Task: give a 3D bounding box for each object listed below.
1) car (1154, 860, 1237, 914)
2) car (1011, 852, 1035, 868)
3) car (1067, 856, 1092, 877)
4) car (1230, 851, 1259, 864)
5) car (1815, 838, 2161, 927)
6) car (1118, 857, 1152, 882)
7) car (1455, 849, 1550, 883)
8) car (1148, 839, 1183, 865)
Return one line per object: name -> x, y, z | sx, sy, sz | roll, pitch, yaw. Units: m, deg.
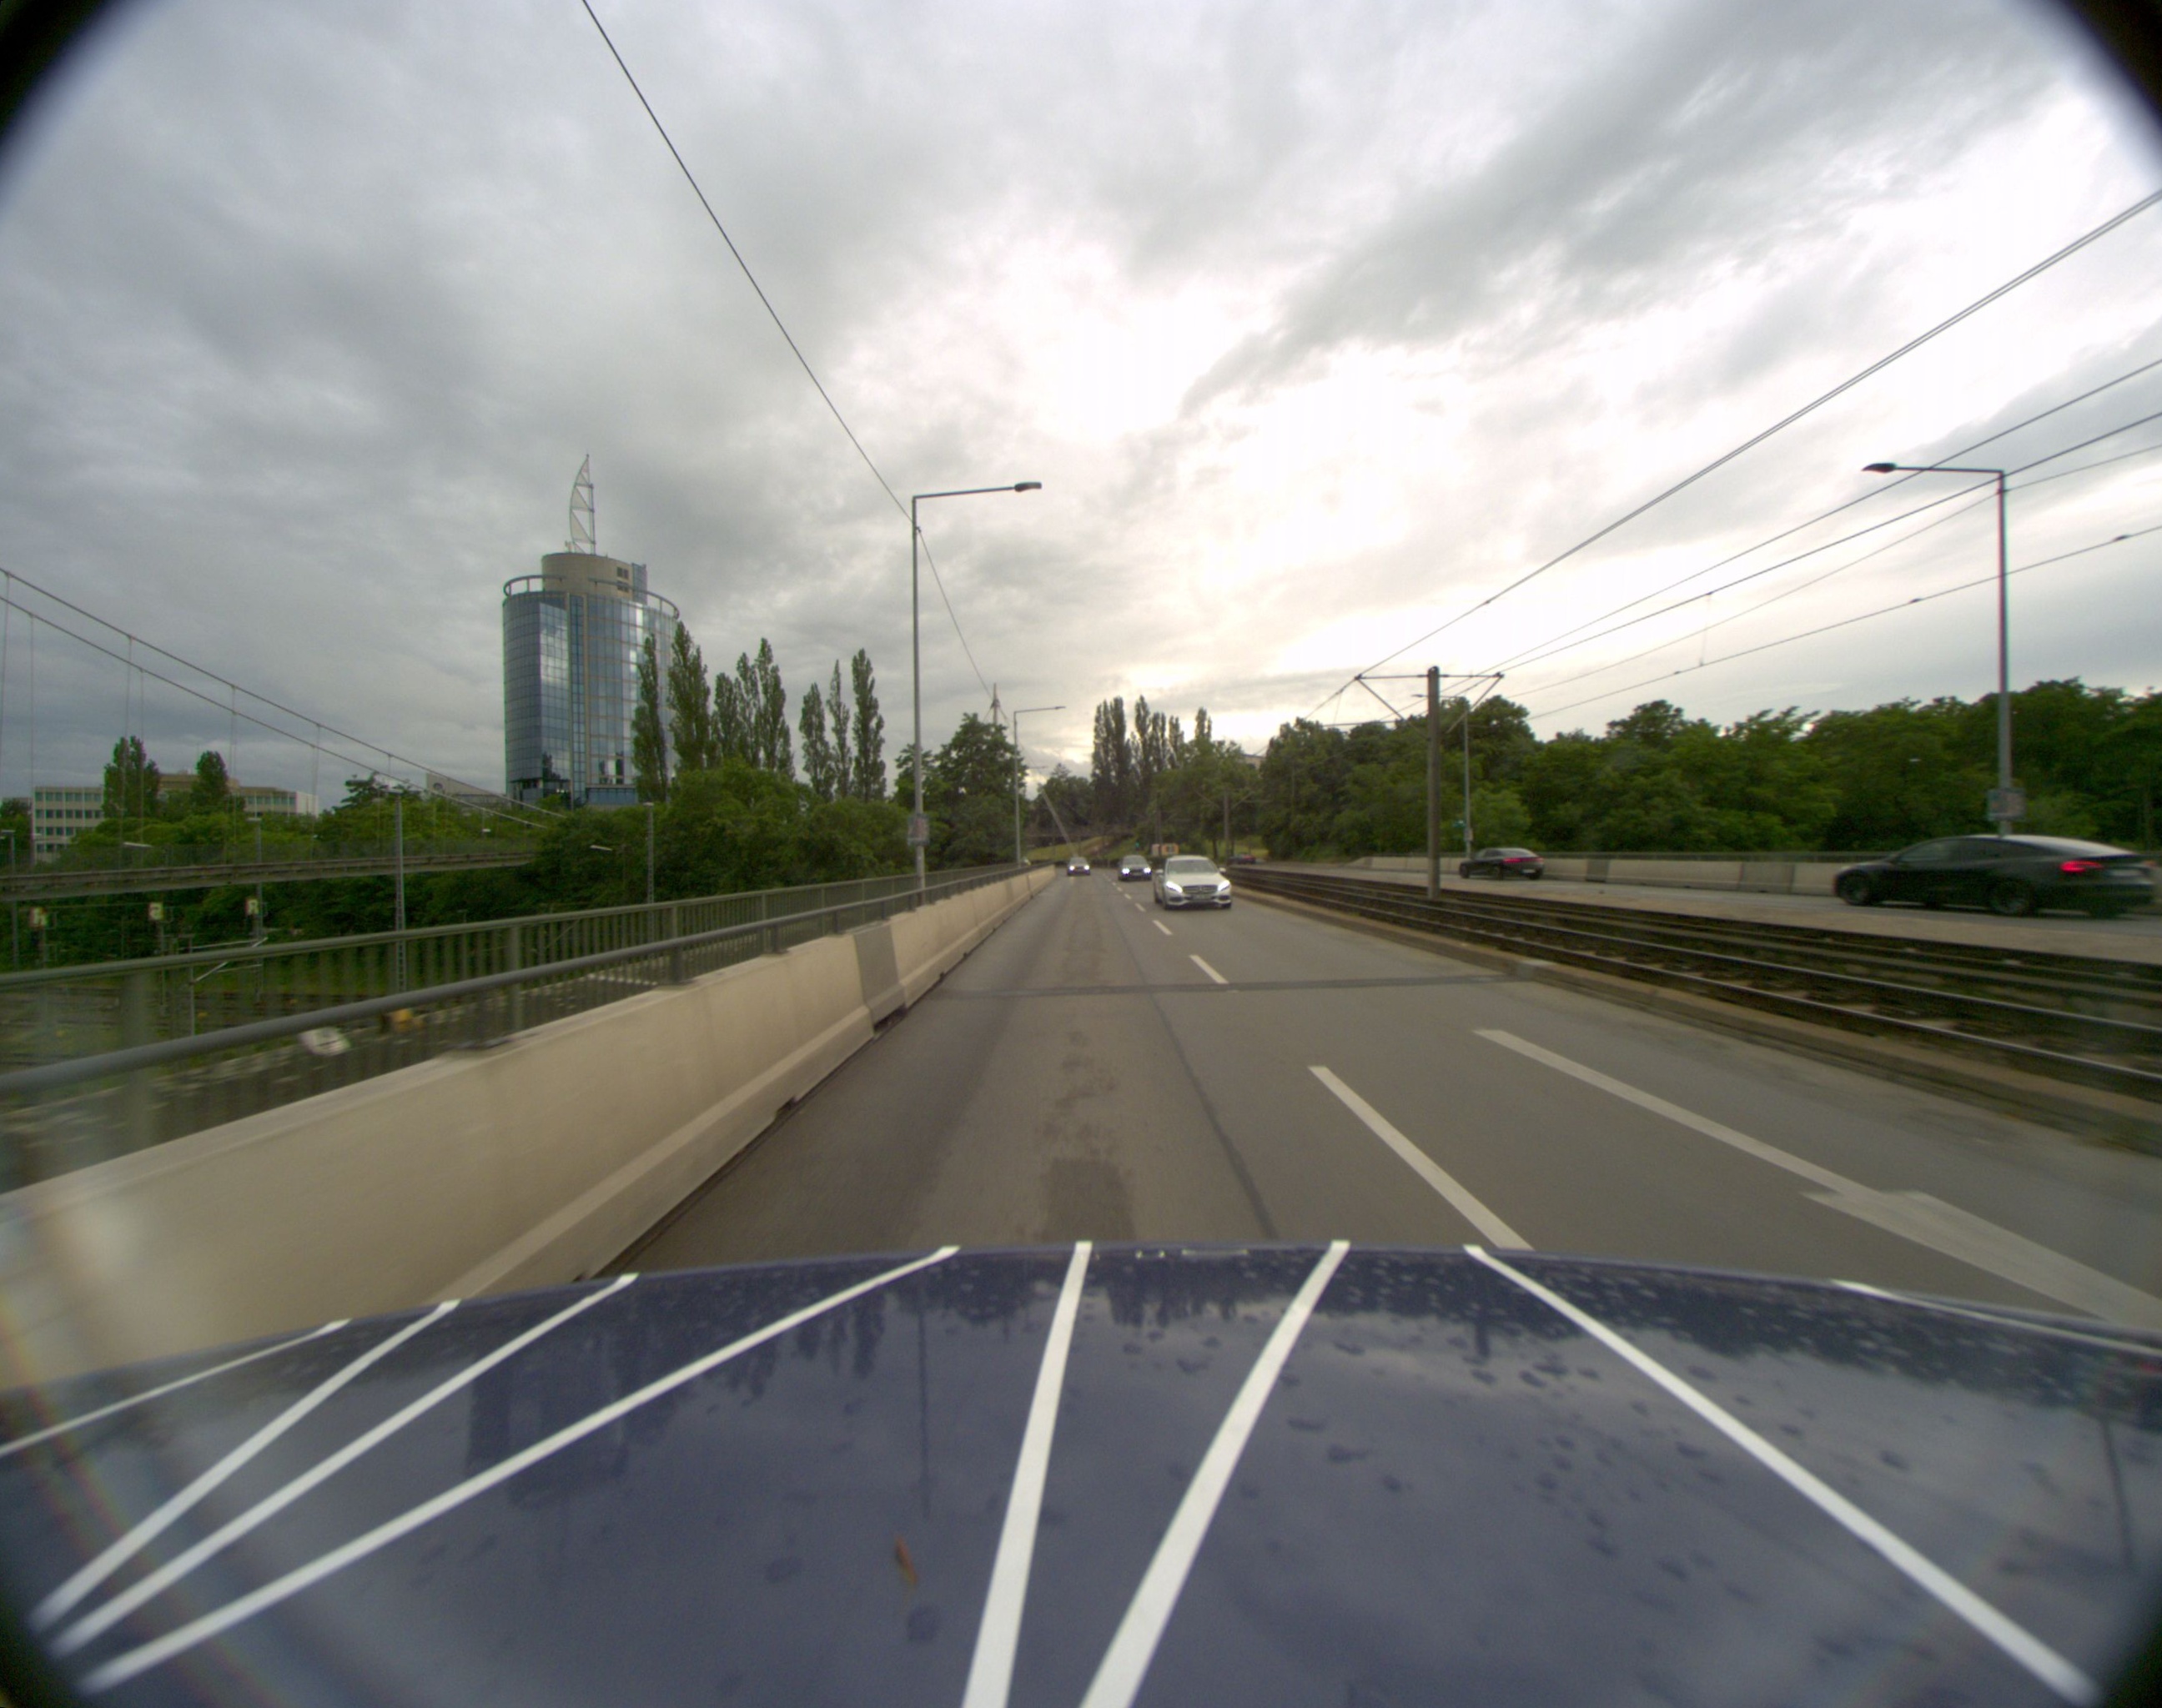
car -> 3.182, 0.887, 21.902 | 1.871, 1.348, 4.060 | -1, 0, 2
car -> -7.051, 0.745, 92.656 | 1.771, 1.806, 3.993 | -2, 1, -22
car -> -0.121, 0.939, 59.725 | 1.768, 1.492, 3.999 | -1, 0, -3
car -> 17.797, 0.375, 82.794 | 1.842, 1.306, 4.617 | -3, 0, -3
car -> 18.704, 0.517, 15.961 | 1.901, 1.588, 4.731 | 0, 0, -3
car -> 3.094, 0.859, 44.075 | 1.736, 1.344, 4.000 | -1, 0, 1
car -> 19.265, 0.507, 34.976 | 1.821, 1.428, 4.741 | -1, 0, 1
car -> 10.651, -0.278, 96.512 | 2.398, 3.097, 6.350 | -2, 1, -12
